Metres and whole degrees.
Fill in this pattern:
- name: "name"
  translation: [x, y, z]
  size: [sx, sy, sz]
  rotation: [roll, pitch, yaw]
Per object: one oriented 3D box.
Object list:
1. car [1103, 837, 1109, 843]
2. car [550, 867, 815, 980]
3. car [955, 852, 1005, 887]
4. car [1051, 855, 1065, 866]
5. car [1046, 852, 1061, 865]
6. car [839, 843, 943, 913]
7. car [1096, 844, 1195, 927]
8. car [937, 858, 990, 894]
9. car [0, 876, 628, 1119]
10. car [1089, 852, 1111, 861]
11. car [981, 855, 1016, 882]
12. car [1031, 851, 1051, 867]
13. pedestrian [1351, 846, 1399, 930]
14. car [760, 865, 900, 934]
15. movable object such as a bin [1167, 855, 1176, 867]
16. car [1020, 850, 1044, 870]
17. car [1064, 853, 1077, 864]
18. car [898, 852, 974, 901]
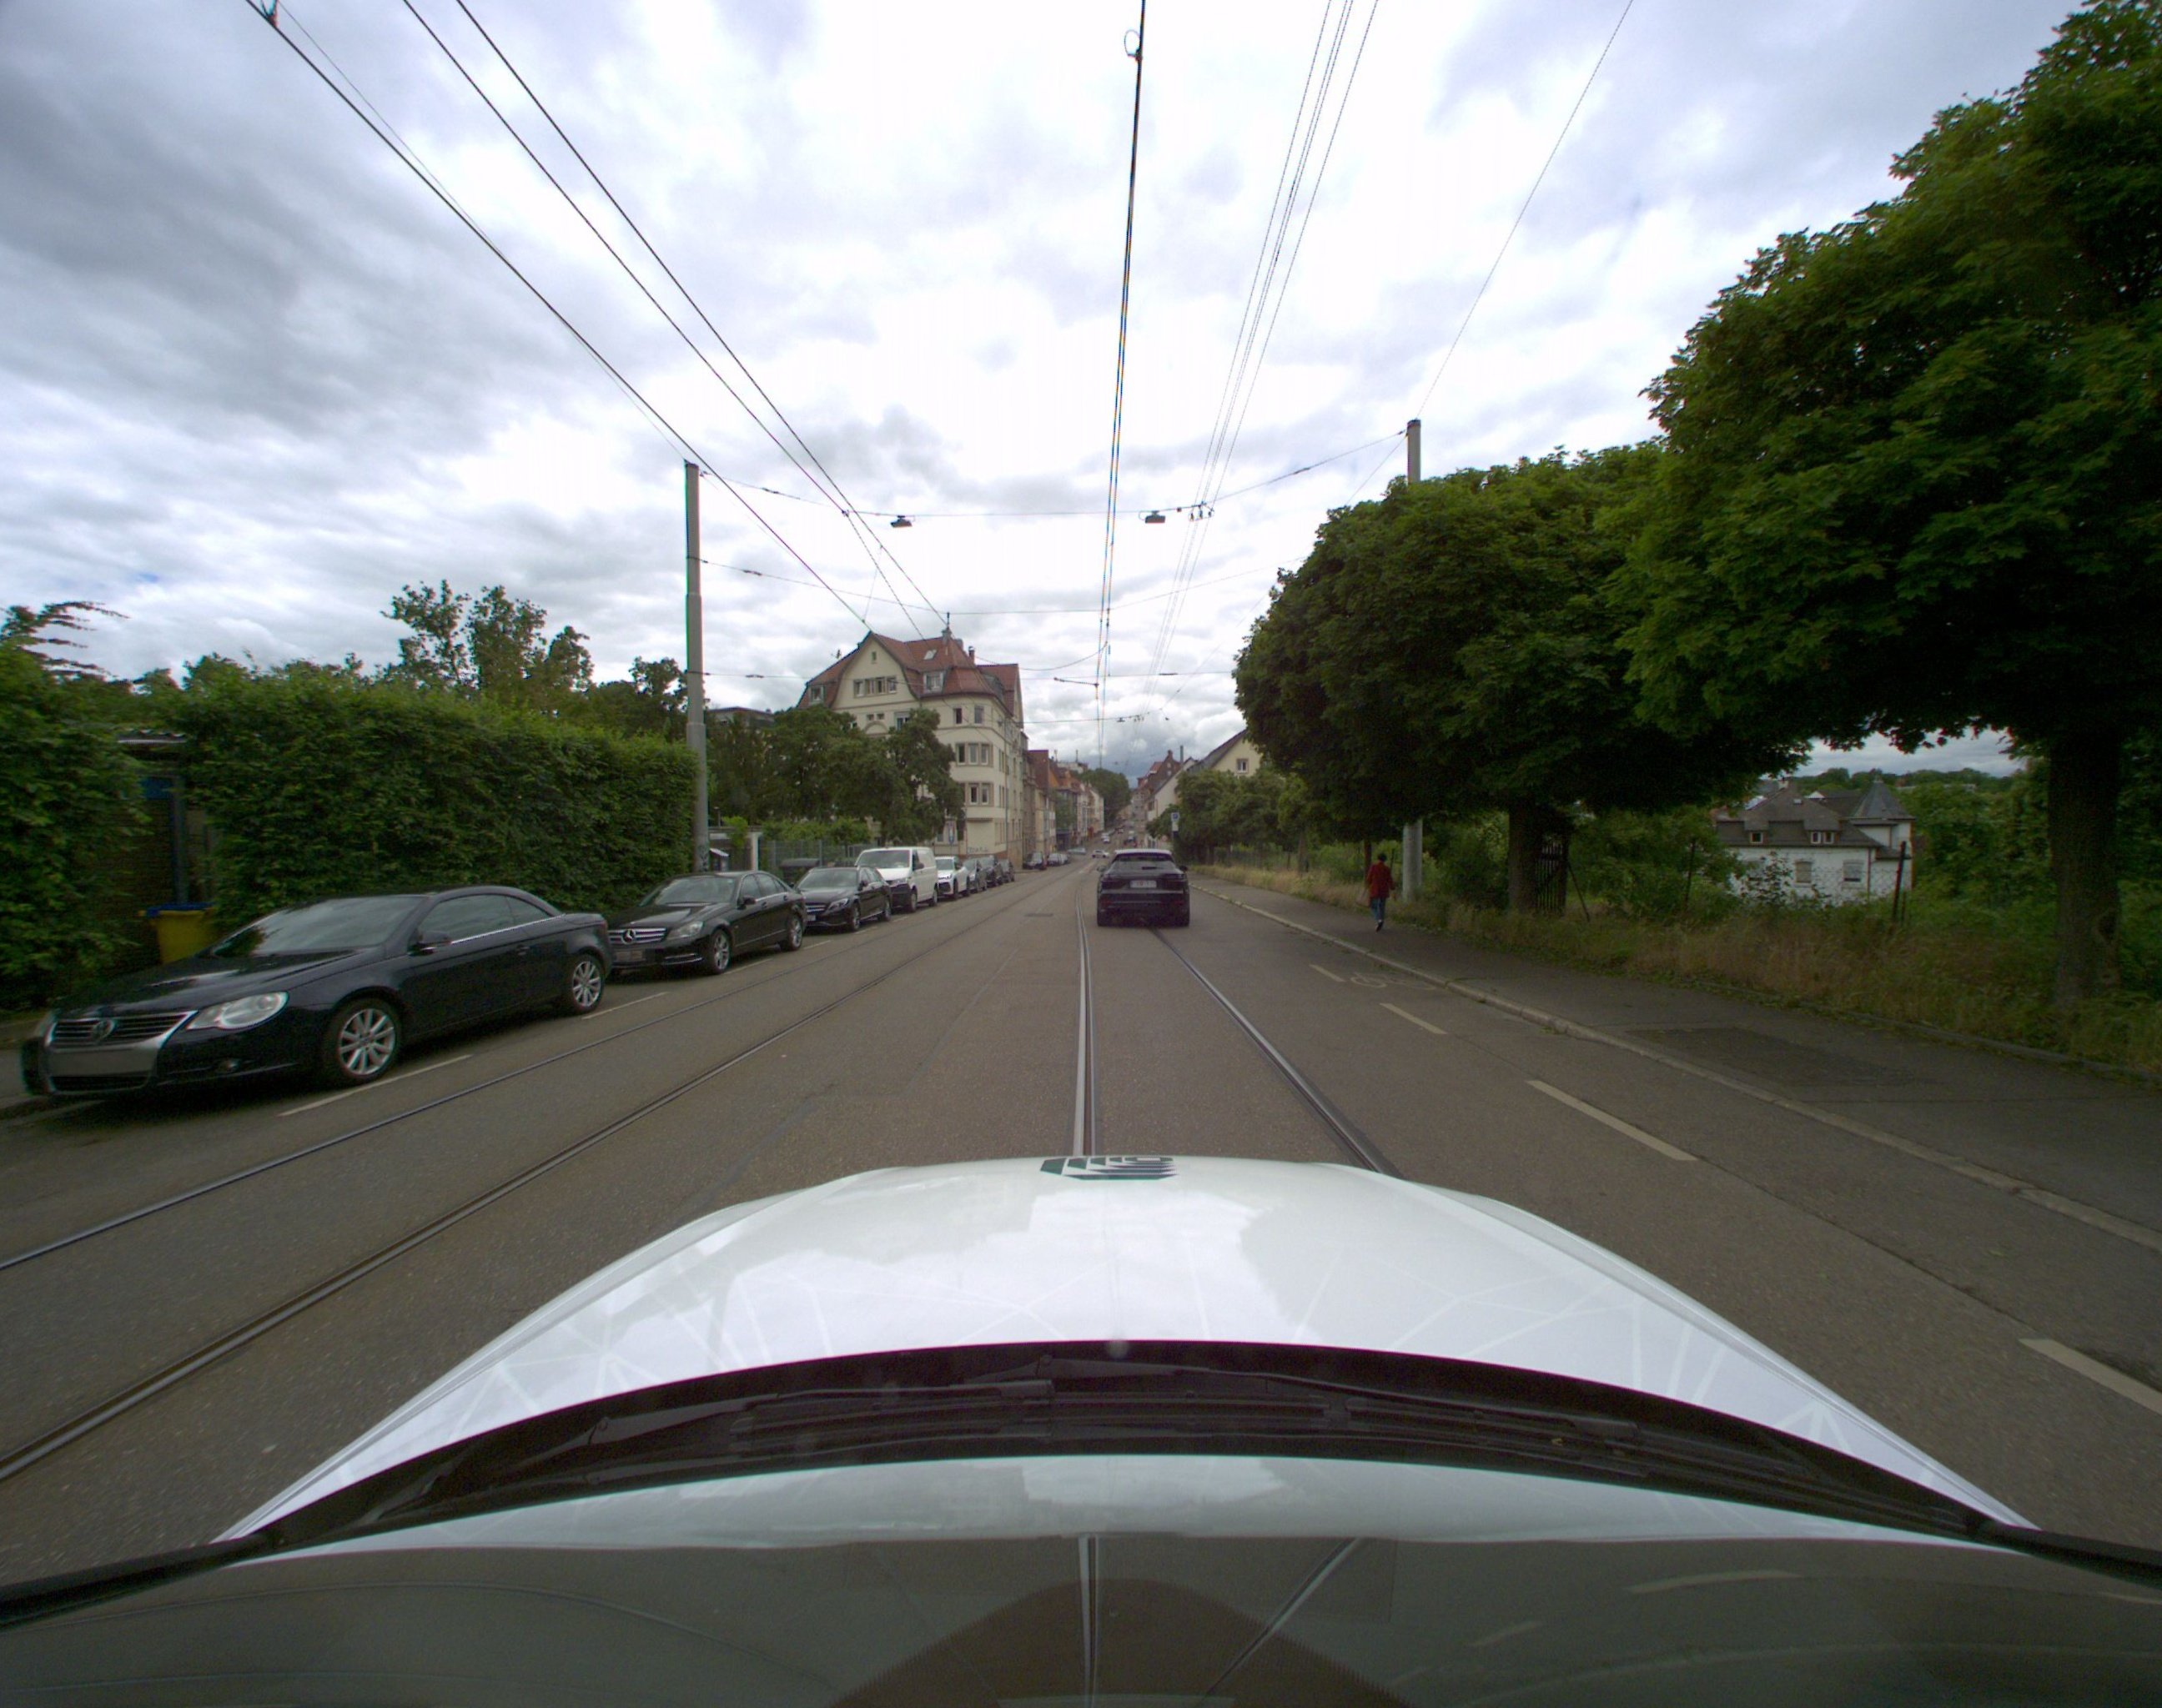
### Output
- name: "car"
  translation: [7.180, -3.983, 231.494]
  size: [1.744, 1.760, 4.256]
  rotation: [0, 0, 3]
- name: "car"
  translation: [-5.785, 0.922, 12.563]
  size: [1.833, 1.387, 4.440]
  rotation: [-1, -1, 1]
- name: "car"
  translation: [-5.185, 0.788, 42.373]
  size: [1.962, 1.686, 4.444]
  rotation: [-1, -1, 1]
- name: "car"
  translation: [-3.087, 0.845, 109.416]
  size: [1.615, 1.463, 3.685]
  rotation: [-1, -1, 1]
- name: "car"
  translation: [-3.330, 0.523, 98.523]
  size: [1.615, 1.463, 4.033]
  rotation: [-1, -1, 1]
- name: "car"
  translation: [-5.665, 0.698, 24.905]
  size: [1.962, 1.913, 4.735]
  rotation: [-1, -1, 1]
- name: "car"
  translation: [1.366, 0.648, 18.538]
  size: [1.986, 1.676, 4.001]
  rotation: [0, 0, 2]
- name: "car"
  translation: [-5.191, 0.954, 36.367]
  size: [1.732, 1.509, 3.869]
  rotation: [-1, -1, 1]
- name: "car"
  translation: [-6.023, 0.936, 7.076]
  size: [1.784, 1.404, 4.161]
  rotation: [-1, -1, 1]
- name: "car"
  translation: [3.802, 0.585, 161.953]
  size: [3.790, 1.769, 2.011]
  rotation: [0, 0, 25]
- name: "car"
  translation: [-4.907, 0.868, 48.831]
  size: [1.615, 1.477, 4.156]
  rotation: [-1, -1, 1]
- name: "car"
  translation: [-3.902, 0.480, 79.872]
  size: [1.615, 1.463, 3.745]
  rotation: [-1, -1, 1]
- name: "pedestrian"
  translation: [5.840, 0.658, 16.200]
  size: [0.712, 1.621, 0.719]
  rotation: [0, -1, 2]
- name: "car"
  translation: [-5.730, 0.983, 19.197]
  size: [1.833, 1.387, 4.518]
  rotation: [-1, -1, 1]
- name: "movable object such as a bin"
  translation: [9.112, 0.676, 81.709]
  size: [0.790, 1.218, 0.788]
  rotation: [0, -1, -2]
- name: "car"
  translation: [-4.403, 0.555, 73.771]
  size: [1.861, 1.646, 4.402]
  rotation: [-1, -1, 1]
- name: "car"
  translation: [-1.492, 0.656, 117.879]
  size: [1.615, 1.473, 4.556]
  rotation: [-1, -1, 1]
- name: "car"
  translation: [-5.385, 0.811, 30.856]
  size: [1.962, 1.686, 4.633]
  rotation: [-1, -1, 1]
